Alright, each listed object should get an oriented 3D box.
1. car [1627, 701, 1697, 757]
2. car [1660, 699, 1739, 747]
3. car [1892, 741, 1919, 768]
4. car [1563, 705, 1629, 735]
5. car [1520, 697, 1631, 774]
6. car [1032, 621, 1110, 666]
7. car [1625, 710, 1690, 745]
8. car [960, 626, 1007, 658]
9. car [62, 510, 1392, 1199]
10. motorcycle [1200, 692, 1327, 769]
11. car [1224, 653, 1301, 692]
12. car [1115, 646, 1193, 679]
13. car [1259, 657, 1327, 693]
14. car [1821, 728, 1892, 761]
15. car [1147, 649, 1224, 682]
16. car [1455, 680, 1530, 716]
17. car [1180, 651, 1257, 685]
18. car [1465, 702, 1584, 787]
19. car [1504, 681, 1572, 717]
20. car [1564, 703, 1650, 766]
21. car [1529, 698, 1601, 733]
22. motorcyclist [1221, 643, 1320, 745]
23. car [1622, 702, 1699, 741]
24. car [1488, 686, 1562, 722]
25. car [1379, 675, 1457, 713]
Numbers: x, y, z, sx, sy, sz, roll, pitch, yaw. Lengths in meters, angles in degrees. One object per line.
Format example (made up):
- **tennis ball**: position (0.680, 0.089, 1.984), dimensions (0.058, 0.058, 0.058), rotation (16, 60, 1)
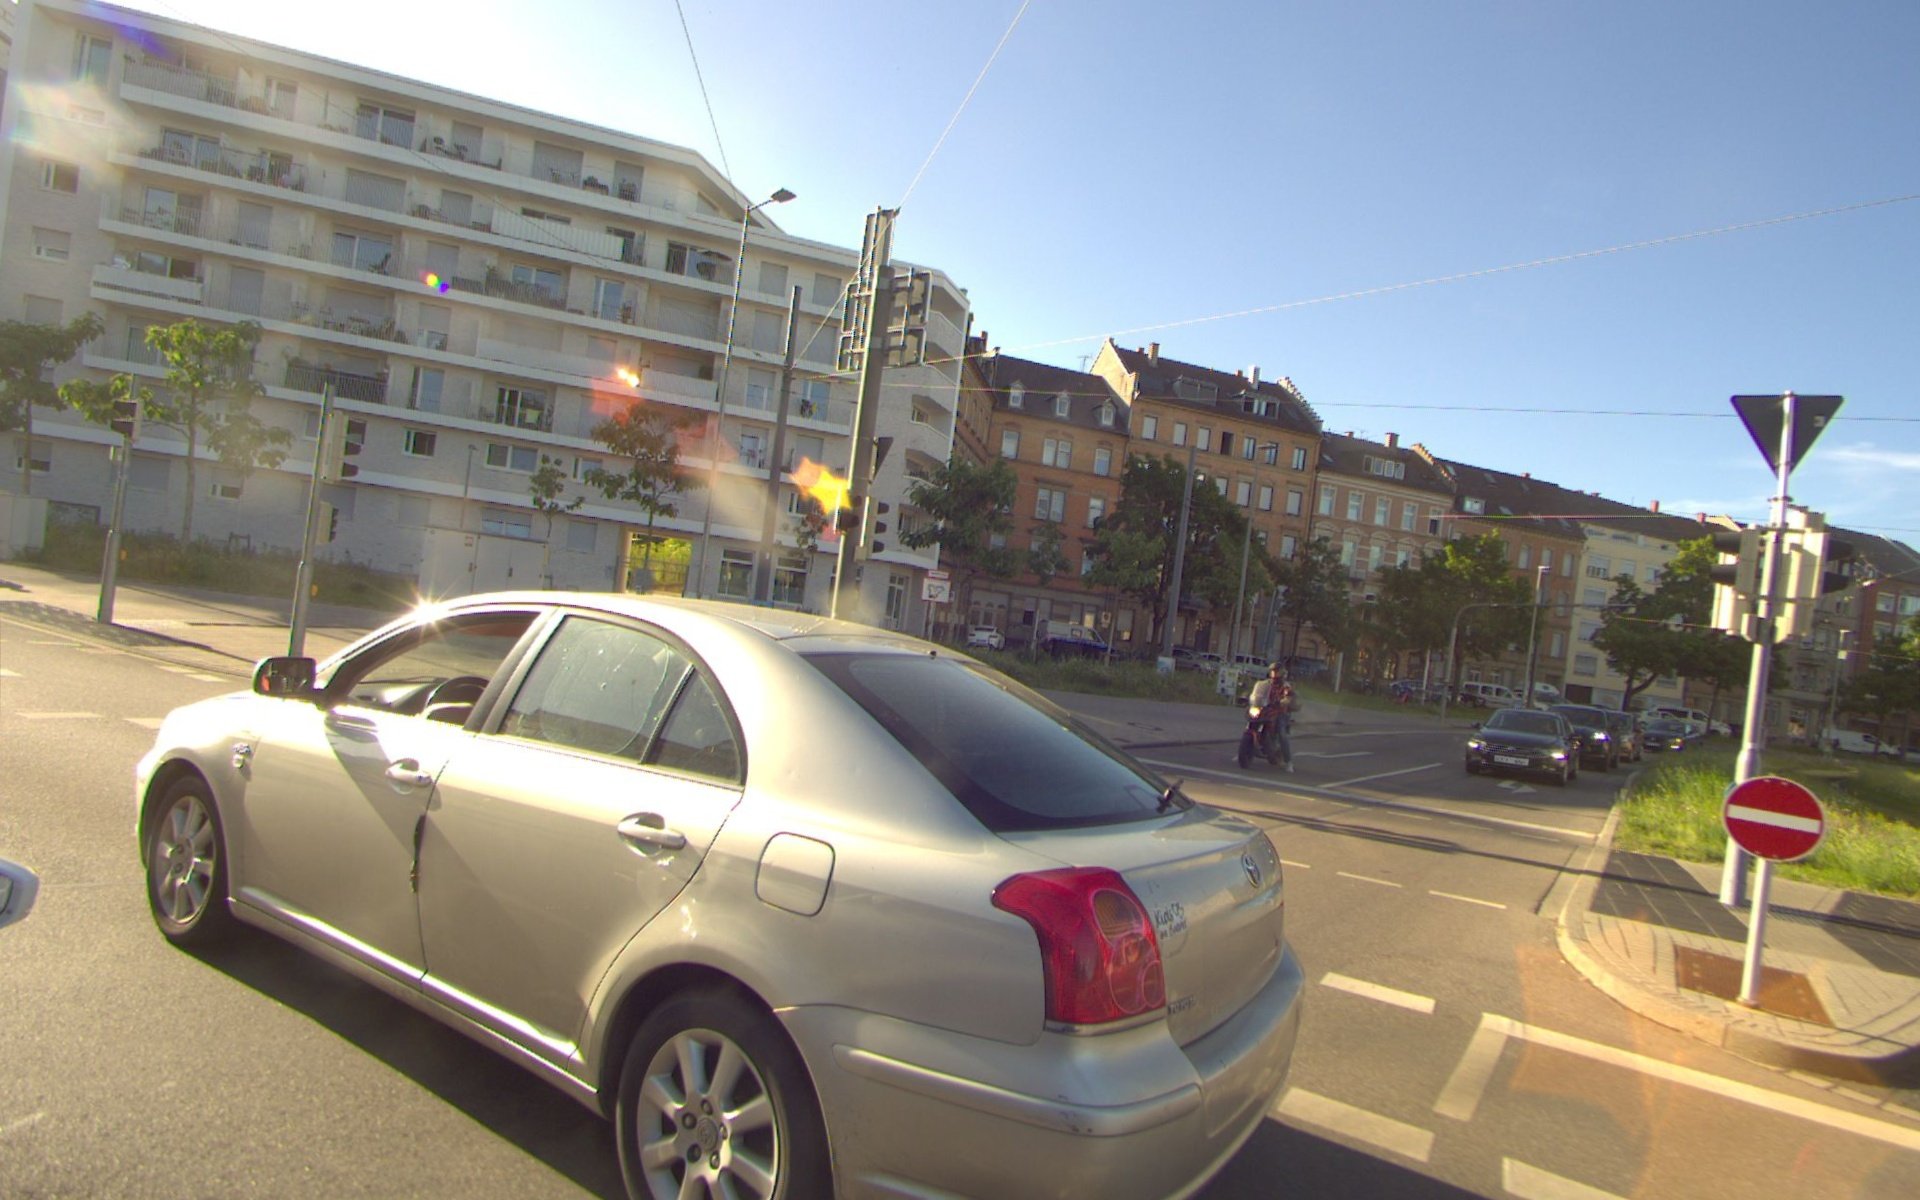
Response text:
- **car**: position (30.475, 5.576, 43.615), dimensions (1.972, 2.037, 3.984), rotation (6, -1, 40)
- **car**: position (53.167, 8.831, 72.338), dimensions (1.988, 2.438, 3.947), rotation (8, 4, -44)
- **car**: position (76.149, 12.358, 79.155), dimensions (3.945, 1.793, 1.991), rotation (6, -1, 42)
- **car**: position (51.225, 9.702, 81.083), dimensions (4.346, 1.742, 1.994), rotation (8, -1, -16)
- **car**: position (17.054, 3.696, 27.765), dimensions (1.970, 1.637, 4.526), rotation (7, -1, 38)
- **car**: position (7.422, 2.906, 67.215), dimensions (4.532, 2.337, 1.995), rotation (9, -1, -14)
- **car**: position (56.865, 10.374, 82.027), dimensions (3.934, 2.215, 1.997), rotation (8, -1, -11)
- **car**: position (1.367, 2.384, 56.914), dimensions (1.962, 1.503, 4.004), rotation (7, -1, 9)
- **car**: position (-1.135, 0.725, 3.555), dimensions (4.552, 1.498, 1.749), rotation (7, -2, 32)
- **motorcycle**: position (5.121, 2.183, 16.836), dimensions (1.154, 1.012, 2.454), rotation (7, -2, 38)
- **car**: position (18.586, 4.439, 61.918), dimensions (1.988, 1.793, 3.952), rotation (8, -1, -42)
- **car**: position (11.286, 3.641, 58.703), dimensions (1.988, 1.370, 3.952), rotation (8, -1, -42)
- **car**: position (21.667, 4.887, 65.611), dimensions (1.974, 1.793, 3.979), rotation (8, -1, -23)
- **car**: position (69.483, 11.195, 78.023), dimensions (3.945, 1.793, 1.991), rotation (6, -1, 42)
- **car**: position (13.384, 3.899, 59.894), dimensions (1.988, 1.370, 3.952), rotation (8, -1, -42)
- **car**: position (35.095, 6.444, 66.340), dimensions (3.940, 1.793, 1.994), rotation (7, -1, 38)
- **car**: position (15.603, 4.098, 60.882), dimensions (1.988, 1.503, 3.952), rotation (8, -1, -42)
- **car**: position (12.040, 3.024, 21.323), dimensions (1.743, 1.416, 4.246), rotation (4, -4, 35)
- **car**: position (45.689, 7.796, 79.570), dimensions (4.118, 2.215, 1.998), rotation (8, -1, -8)
- **car**: position (21.504, 4.452, 33.371), dimensions (1.970, 1.636, 4.090), rotation (7, -2, 37)
- **car**: position (41.776, 7.942, 69.470), dimensions (3.940, 1.793, 1.994), rotation (7, -1, 38)
- **motorcyclist**: position (5.180, 1.573, 16.798), dimensions (1.154, 1.498, 0.925), rotation (8, -1, 38)
- **car**: position (49.437, 8.550, 71.007), dimensions (1.989, 1.794, 3.947), rotation (8, 3, -44)
- **car**: position (38.217, 7.021, 68.070), dimensions (3.940, 1.793, 1.994), rotation (7, -1, 38)
- **car**: position (29.464, 6.014, 64.798), dimensions (1.988, 1.797, 3.951), rotation (8, -1, -43)
